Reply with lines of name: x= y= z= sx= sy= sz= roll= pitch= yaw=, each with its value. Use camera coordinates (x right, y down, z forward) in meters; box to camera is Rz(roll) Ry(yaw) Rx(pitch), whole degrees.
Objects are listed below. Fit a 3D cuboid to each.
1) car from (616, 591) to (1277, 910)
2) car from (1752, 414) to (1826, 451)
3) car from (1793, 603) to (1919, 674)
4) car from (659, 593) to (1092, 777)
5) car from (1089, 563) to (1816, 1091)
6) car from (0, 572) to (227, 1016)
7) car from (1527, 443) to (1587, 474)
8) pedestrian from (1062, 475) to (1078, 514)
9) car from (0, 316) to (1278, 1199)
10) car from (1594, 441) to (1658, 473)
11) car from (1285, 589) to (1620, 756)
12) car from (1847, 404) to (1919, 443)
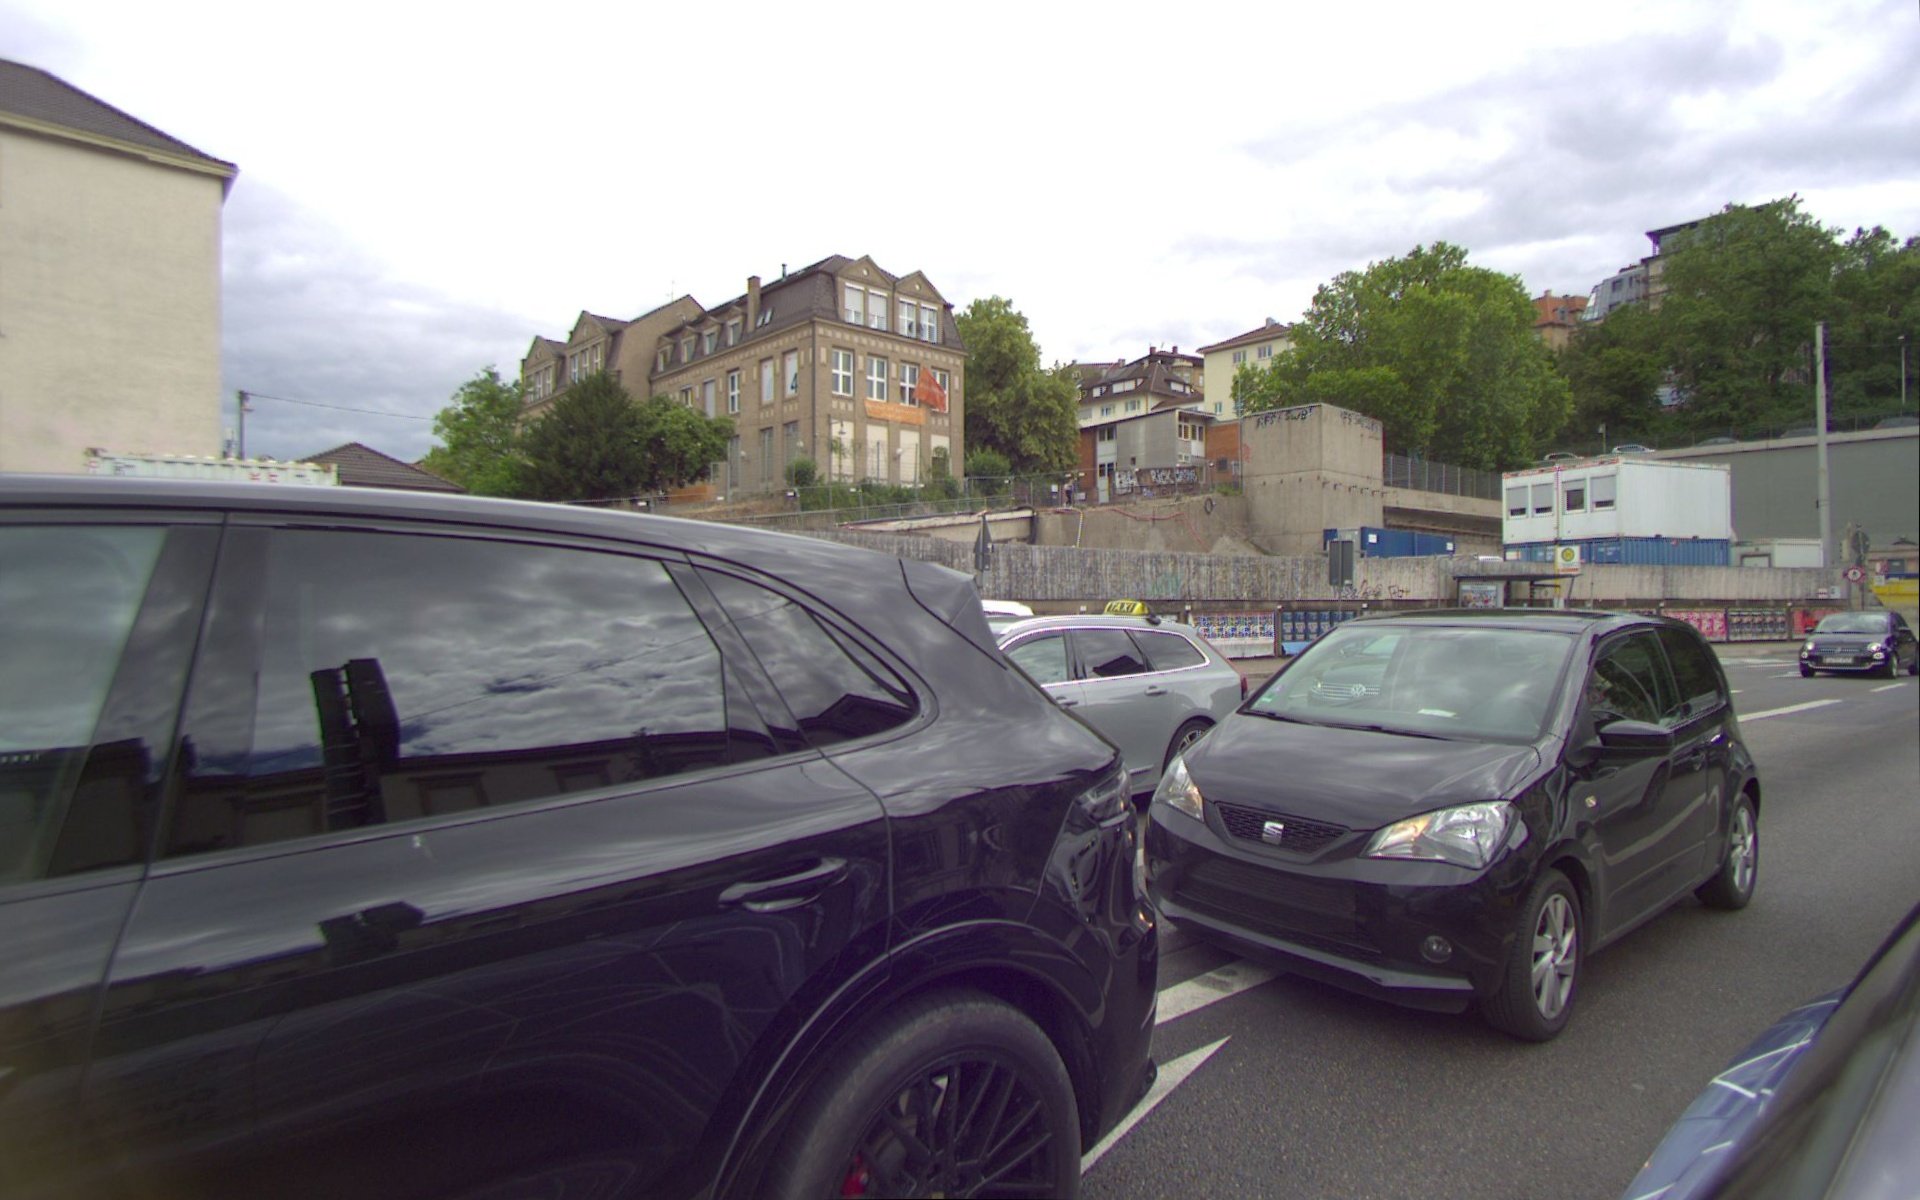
car: x=0.134 y=0.741 z=7.211 sx=4.570 sy=1.591 sz=1.826 roll=0 pitch=0 yaw=-39
car: x=60.622 y=-12.213 z=74.011 sx=1.966 sy=2.039 sz=3.991 roll=0 pitch=1 yaw=-43
car: x=20.417 y=0.795 z=22.704 sx=3.925 sy=1.462 sz=1.731 roll=0 pitch=-1 yaw=-36
car: x=-0.733 y=0.723 z=10.808 sx=4.471 sy=1.579 sz=1.703 roll=0 pitch=0 yaw=-41
car: x=2.530 y=0.658 z=4.783 sx=3.812 sy=1.515 sz=1.667 roll=0 pitch=-1 yaw=-40
car: x=-4.881 y=0.691 z=3.417 sx=3.812 sy=1.563 sz=1.667 roll=0 pitch=-1 yaw=-40
car: x=50.257 y=-11.905 z=85.224 sx=3.988 sy=2.039 sz=1.968 roll=0 pitch=1 yaw=45
pedestrian: x=6.006 y=-5.755 z=55.220 sx=0.656 sy=2.039 sz=0.644 roll=0 pitch=0 yaw=-45
car: x=-1.620 y=0.581 z=1.698 sx=4.552 sy=1.707 sz=1.959 roll=0 pitch=-1 yaw=-40
car: x=53.573 y=-11.498 z=81.434 sx=3.988 sy=2.039 sz=1.968 roll=0 pitch=1 yaw=45
car: x=5.796 y=0.679 z=11.672 sx=4.468 sy=1.579 sz=1.704 roll=0 pitch=0 yaw=-38
car: x=64.161 y=-12.184 z=70.043 sx=1.966 sy=2.039 sz=3.991 roll=0 pitch=1 yaw=-43
